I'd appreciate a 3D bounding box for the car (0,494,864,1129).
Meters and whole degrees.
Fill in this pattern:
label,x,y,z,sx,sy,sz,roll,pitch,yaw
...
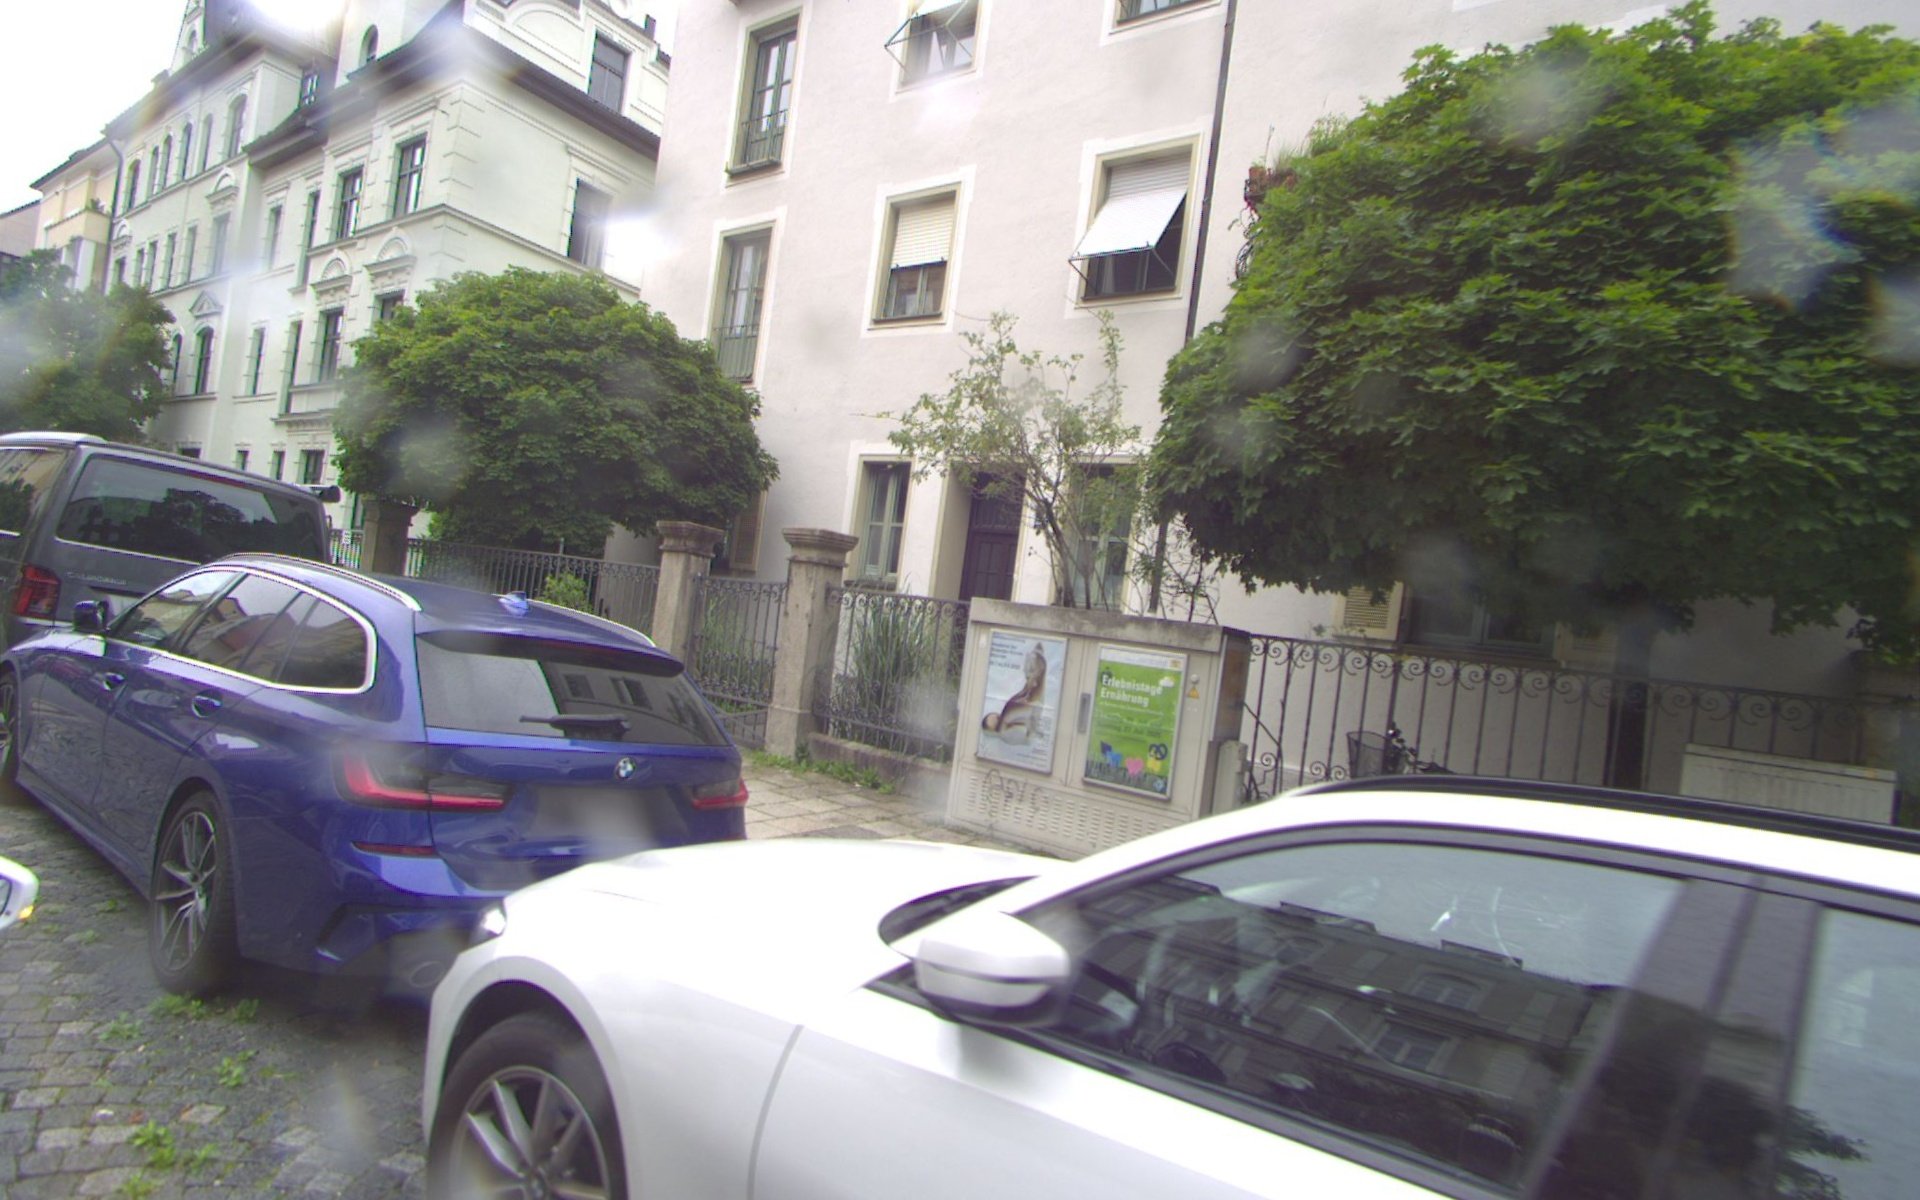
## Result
label,x,y,z,sx,sy,sz,roll,pitch,yaw
car,-2.970,0.505,4.749,4.800,1.522,1.933,6,-4,36

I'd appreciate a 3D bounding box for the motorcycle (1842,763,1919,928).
label,x,y,z,sx,sy,sz,roll,pitch,yaw
motorcycle,9.932,2.500,10.352,0.846,1.449,2.702,7,-2,35

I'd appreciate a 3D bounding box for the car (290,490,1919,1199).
label,x,y,z,sx,sy,sz,roll,pitch,yaw
car,1.017,0.883,1.704,4.847,1.547,1.911,7,-5,37

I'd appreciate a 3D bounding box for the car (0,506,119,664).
label,x,y,z,sx,sy,sz,roll,pitch,yaw
car,-11.343,-0.407,11.221,4.729,1.449,1.925,6,-5,38

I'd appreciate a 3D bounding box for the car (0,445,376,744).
label,x,y,z,sx,sy,sz,roll,pitch,yaw
car,-6.873,-0.143,7.978,4.776,1.709,2.023,7,-2,37

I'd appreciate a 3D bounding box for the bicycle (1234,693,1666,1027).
label,x,y,z,sx,sy,sz,roll,pitch,yaw
bicycle,2.535,1.273,5.361,1.889,1.289,0.467,6,-3,34
